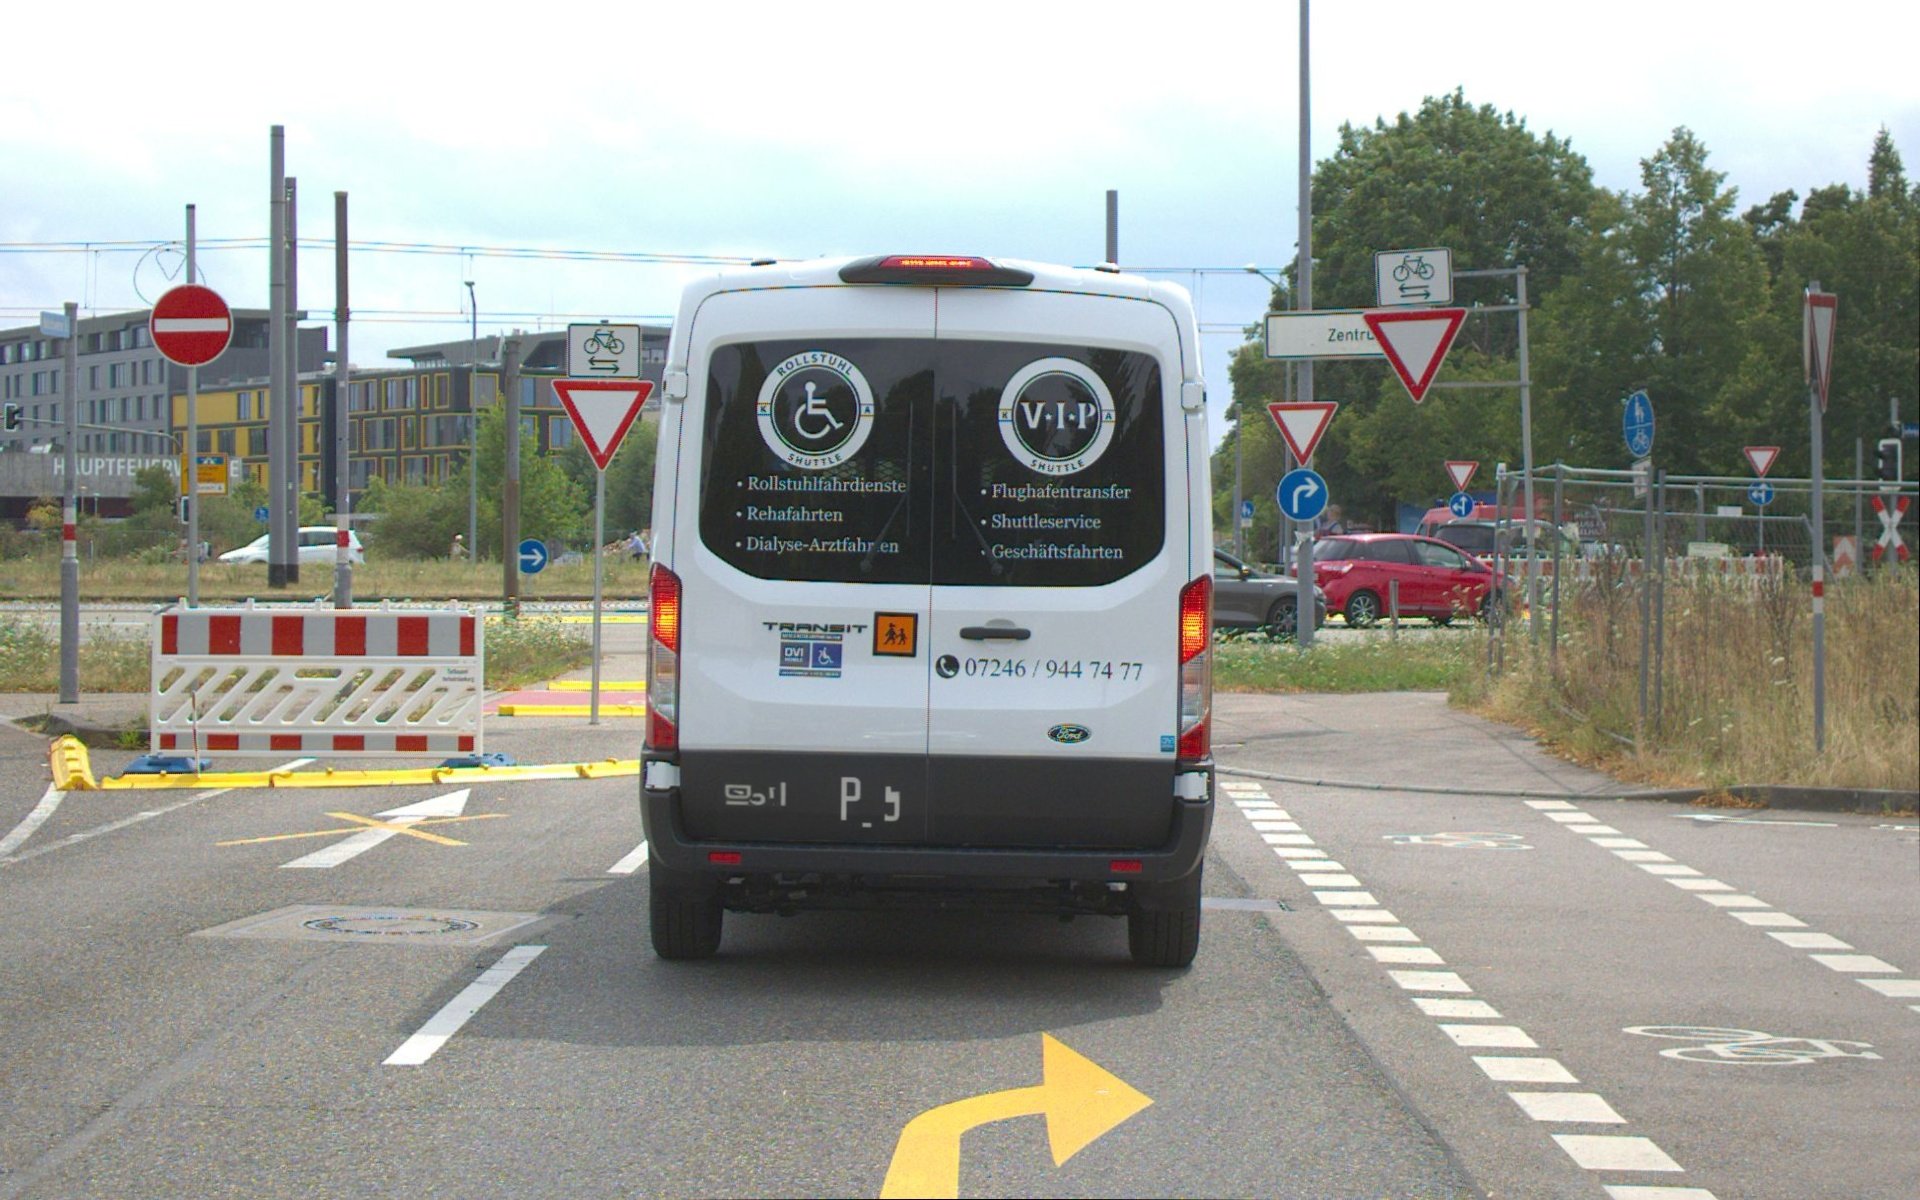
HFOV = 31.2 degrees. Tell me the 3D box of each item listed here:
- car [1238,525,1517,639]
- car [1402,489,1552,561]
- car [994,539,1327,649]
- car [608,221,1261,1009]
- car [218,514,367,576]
[{"bbox_3d":[6.656,-0.305,54.838,3.986,1.656,1.891,-2,2,-25],"label":"car"},{"bbox_3d":[13.809,-2.001,92.013,2.006,1.810,4.413,-2,2,-21],"label":"car"},{"bbox_3d":[2.800,-0.109,47.837,4.341,1.349,1.622,-2,2,-24],"label":"car"},{"bbox_3d":[-0.086,0.019,13.441,2.063,2.531,4.000,3,1,0],"label":"car"},{"bbox_3d":[-20.204,-1.675,104.125,3.987,1.766,1.768,-3,2,-34],"label":"car"}]
